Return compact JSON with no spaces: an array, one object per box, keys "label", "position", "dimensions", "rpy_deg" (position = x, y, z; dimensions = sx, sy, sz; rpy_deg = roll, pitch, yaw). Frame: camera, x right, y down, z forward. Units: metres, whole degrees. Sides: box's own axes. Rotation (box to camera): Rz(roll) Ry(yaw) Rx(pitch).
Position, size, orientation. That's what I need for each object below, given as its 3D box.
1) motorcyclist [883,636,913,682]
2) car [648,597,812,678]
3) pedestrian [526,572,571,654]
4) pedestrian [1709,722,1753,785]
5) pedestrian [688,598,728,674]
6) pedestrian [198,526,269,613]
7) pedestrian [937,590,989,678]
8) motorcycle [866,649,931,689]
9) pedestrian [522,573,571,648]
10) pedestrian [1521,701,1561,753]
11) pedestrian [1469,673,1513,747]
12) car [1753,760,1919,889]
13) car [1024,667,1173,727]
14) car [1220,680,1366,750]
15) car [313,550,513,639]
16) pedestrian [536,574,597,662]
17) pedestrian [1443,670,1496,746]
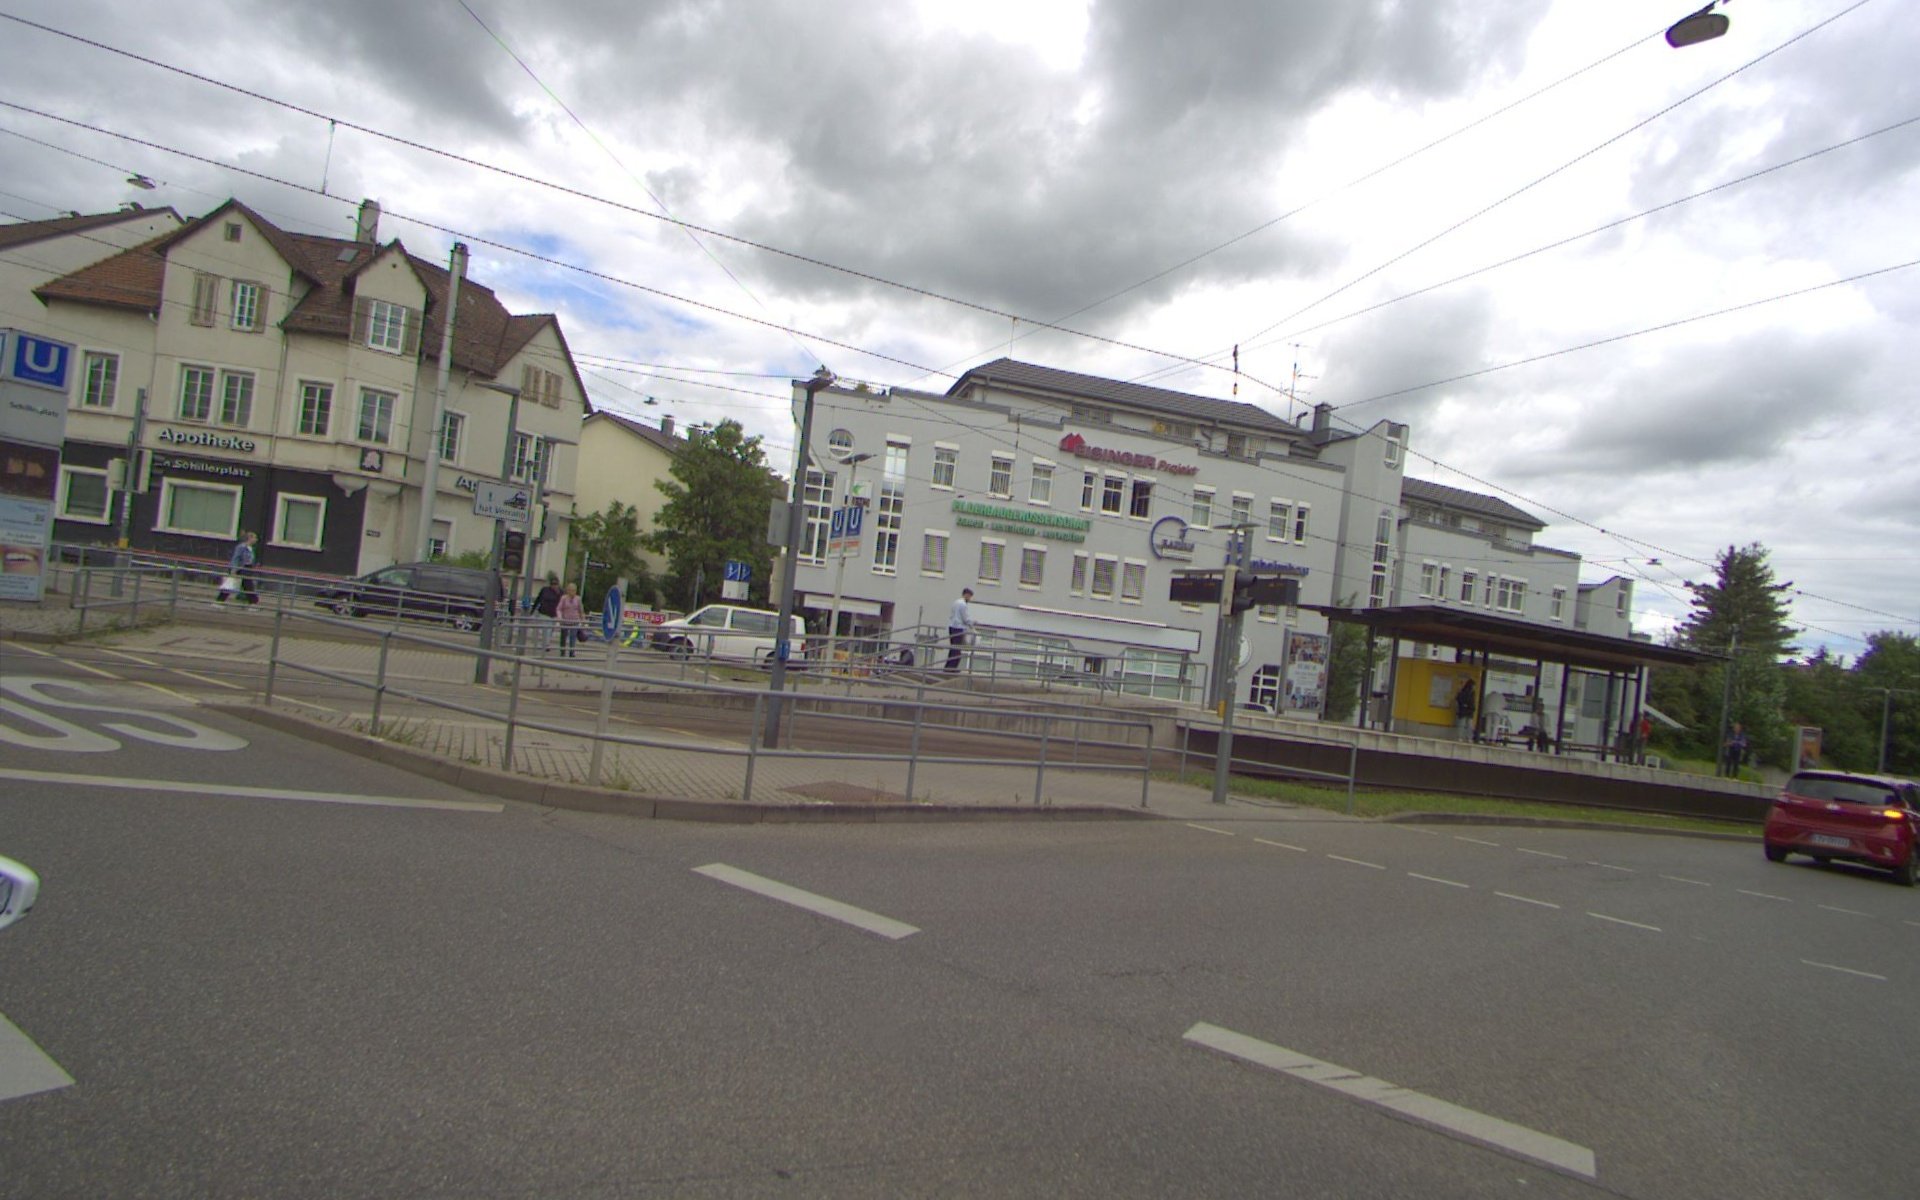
[{"label":"motorcyclist","position":[-2.041,1.943,33.081],"dimensions":[0.682,1.410,0.762],"rpy_deg":[7,-2,-15]},{"label":"car","position":[-7.257,1.200,31.788],"dimensions":[4.711,1.940,1.986],"rpy_deg":[8,-3,-16]},{"label":"pedestrian","position":[-9.287,0.289,22.700],"dimensions":[0.697,1.739,0.645],"rpy_deg":[7,0,-31]},{"label":"pedestrian","position":[23.465,4.669,30.621],"dimensions":[0.685,1.737,0.781],"rpy_deg":[9,-2,-39]},{"label":"pedestrian","position":[-6.145,0.871,24.492],"dimensions":[0.641,1.737,0.786],"rpy_deg":[8,-2,-19]},{"label":"pedestrian","position":[-15.616,-0.650,21.639],"dimensions":[0.714,1.739,0.844],"rpy_deg":[6,-1,21]},{"label":"pedestrian","position":[0.058,0.699,21.038],"dimensions":[0.642,1.739,0.700],"rpy_deg":[7,0,-26]},{"label":"motorcycle","position":[-2.024,2.271,33.080],"dimensions":[1.950,1.085,0.762],"rpy_deg":[8,-3,-16]},{"label":"pedestrian","position":[-10.357,0.261,25.199],"dimensions":[0.783,1.737,0.644],"rpy_deg":[9,-2,-35]},{"label":"pedestrian","position":[15.754,3.434,27.283],"dimensions":[0.582,1.279,0.567],"rpy_deg":[9,-2,-25]},{"label":"pedestrian","position":[13.704,2.839,25.966],"dimensions":[0.776,1.794,0.689],"rpy_deg":[7,-2,34]},{"label":"car","position":[13.982,3.444,15.510],"dimensions":[3.969,1.468,1.687],"rpy_deg":[10,-3,-36]},{"label":"car","position":[4.840,3.403,35.340],"dimensions":[4.711,1.487,1.986],"rpy_deg":[8,-3,-16]},{"label":"car","position":[12.278,4.223,37.152],"dimensions":[4.711,1.940,1.986],"rpy_deg":[8,-3,-16]},{"label":"car","position":[-15.483,-0.105,28.797],"dimensions":[4.634,1.841,1.857],"rpy_deg":[8,-3,-22]},{"label":"pedestrian","position":[-8.351,0.380,21.381],"dimensions":[0.641,1.737,0.786],"rpy_deg":[6,-3,42]},{"label":"pedestrian","position":[12.612,2.668,24.896],"dimensions":[0.781,1.737,0.685],"rpy_deg":[9,-2,-30]}]
